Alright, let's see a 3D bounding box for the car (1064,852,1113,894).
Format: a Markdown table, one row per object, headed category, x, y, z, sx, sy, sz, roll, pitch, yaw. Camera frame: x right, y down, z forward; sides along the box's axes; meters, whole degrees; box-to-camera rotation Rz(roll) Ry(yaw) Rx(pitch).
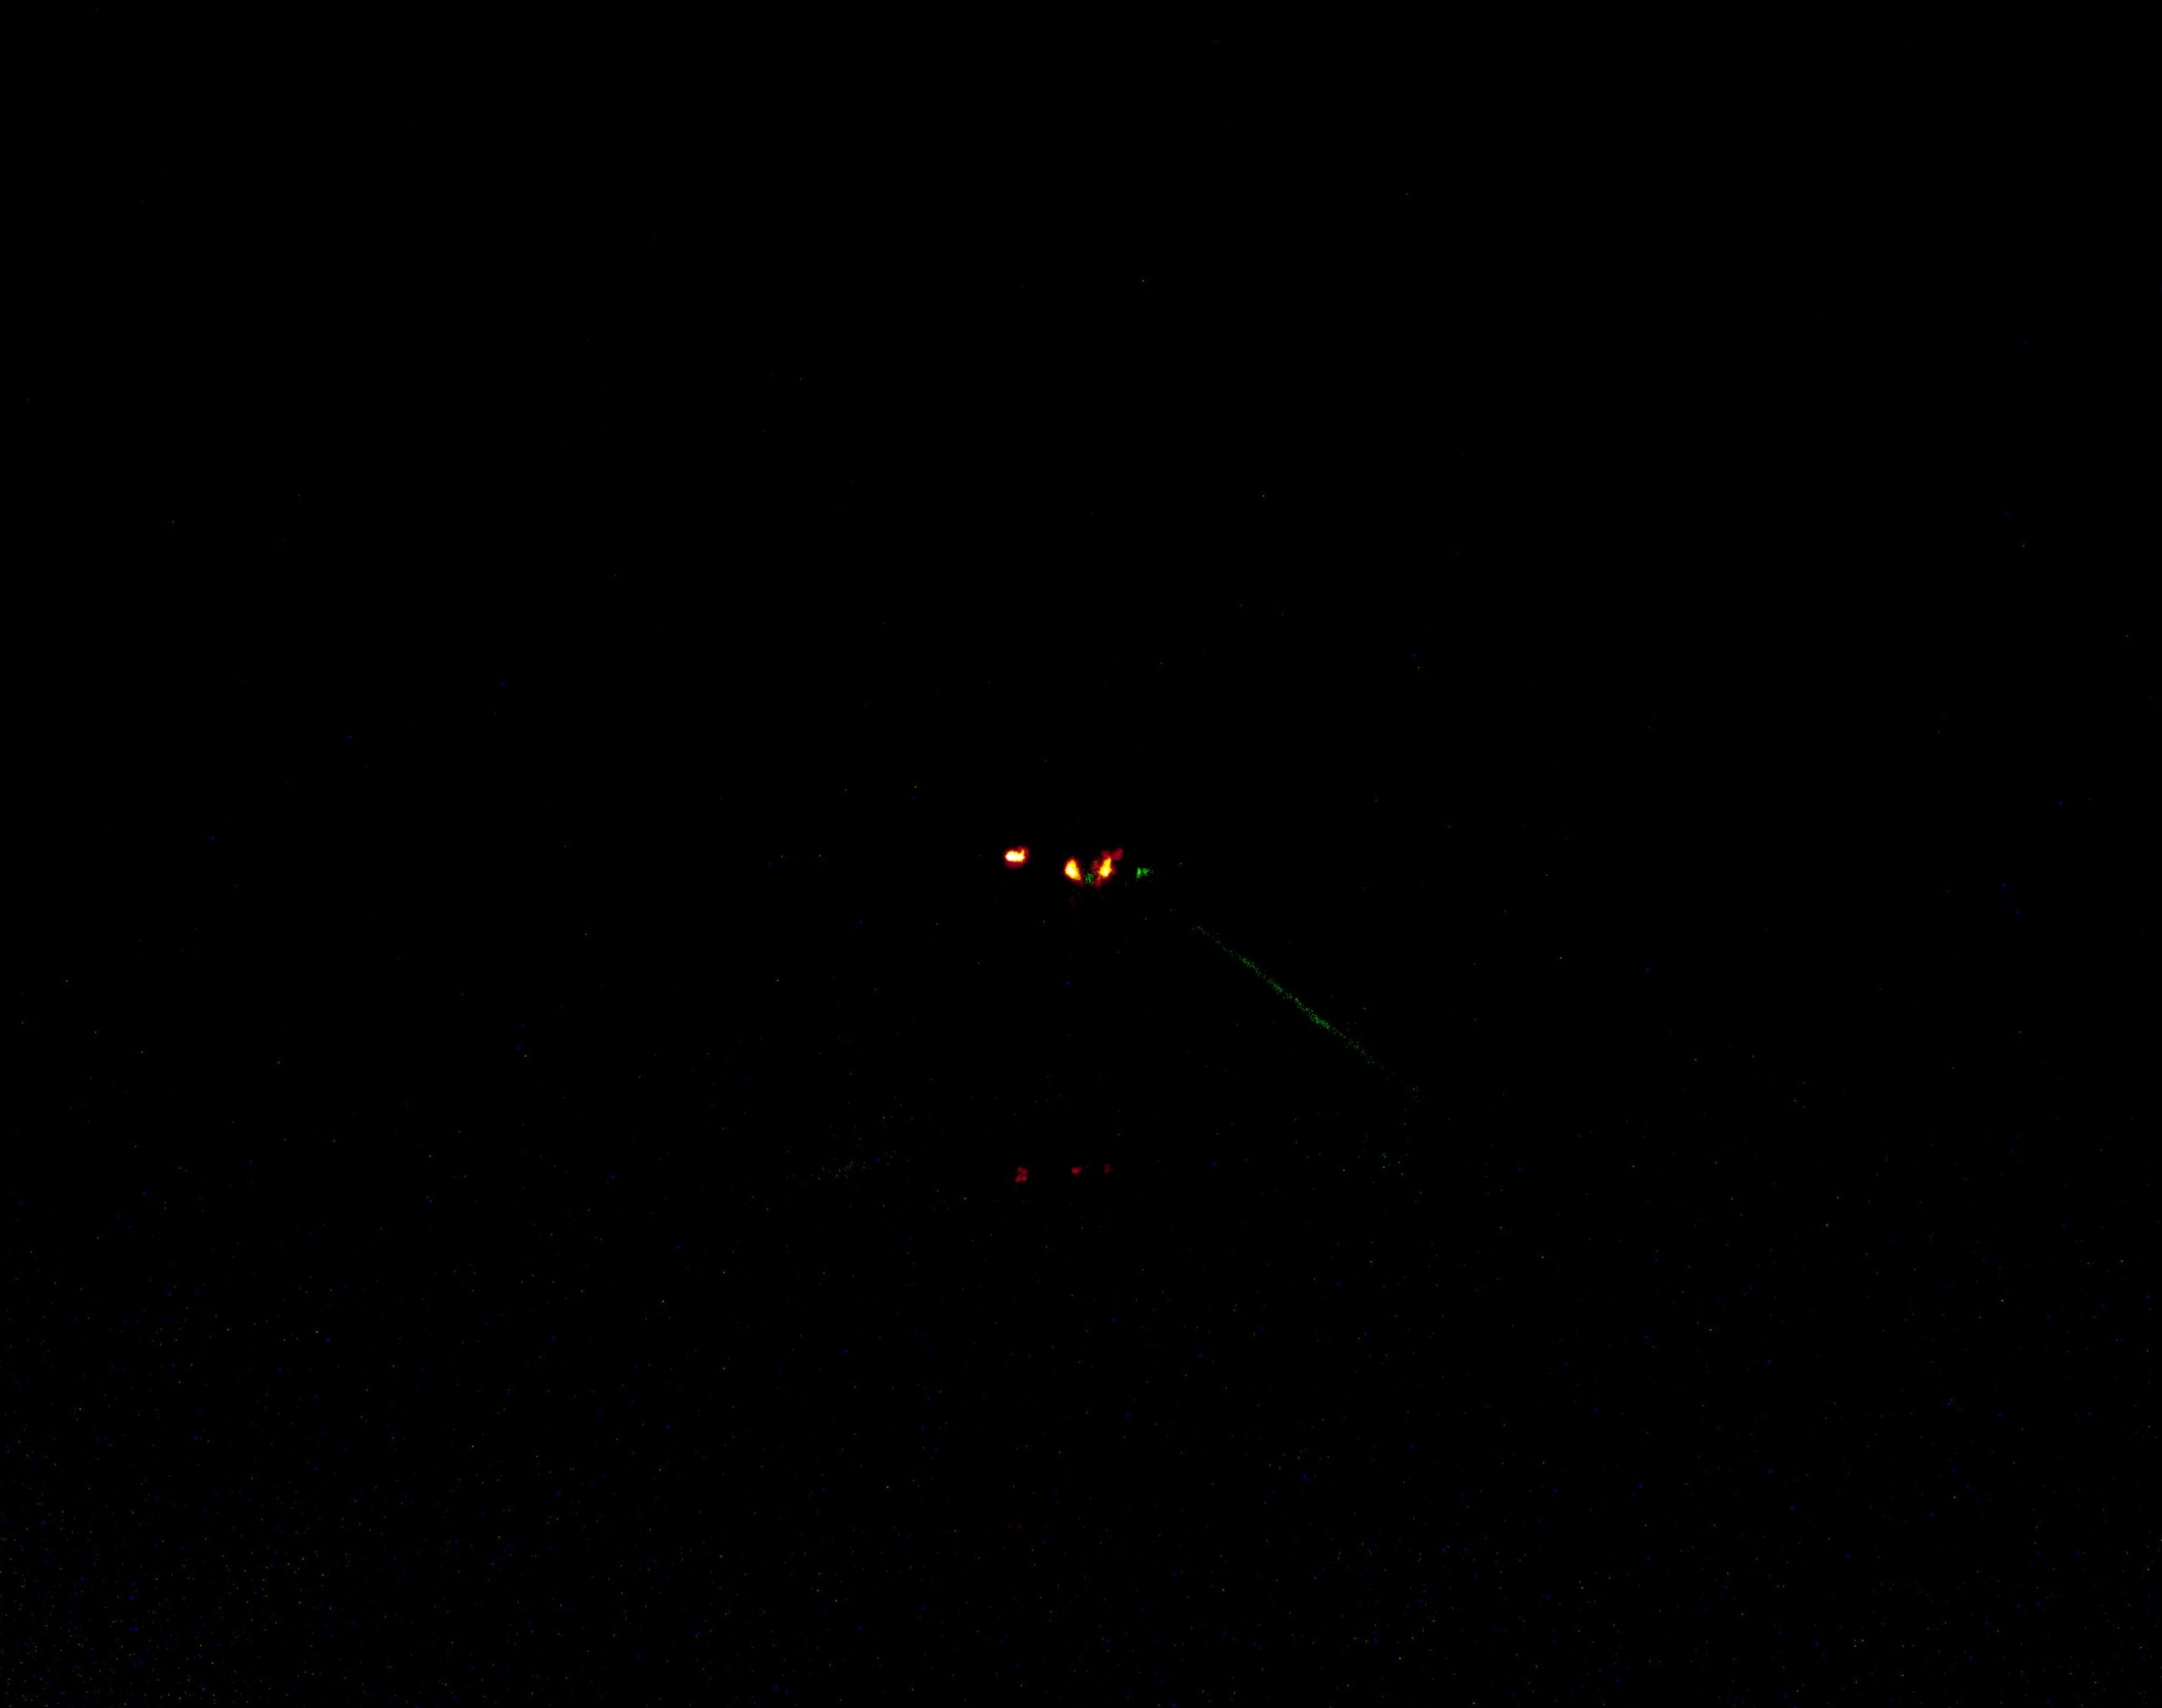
| category | x | y | z | sx | sy | sz | roll | pitch | yaw |
| --- | --- | --- | --- | --- | --- | --- | --- | --- | --- |
| car | 0.318 | 0.790 | 36.197 | 1.987 | 1.628 | 4.984 | -1 | 1 | 0 |
